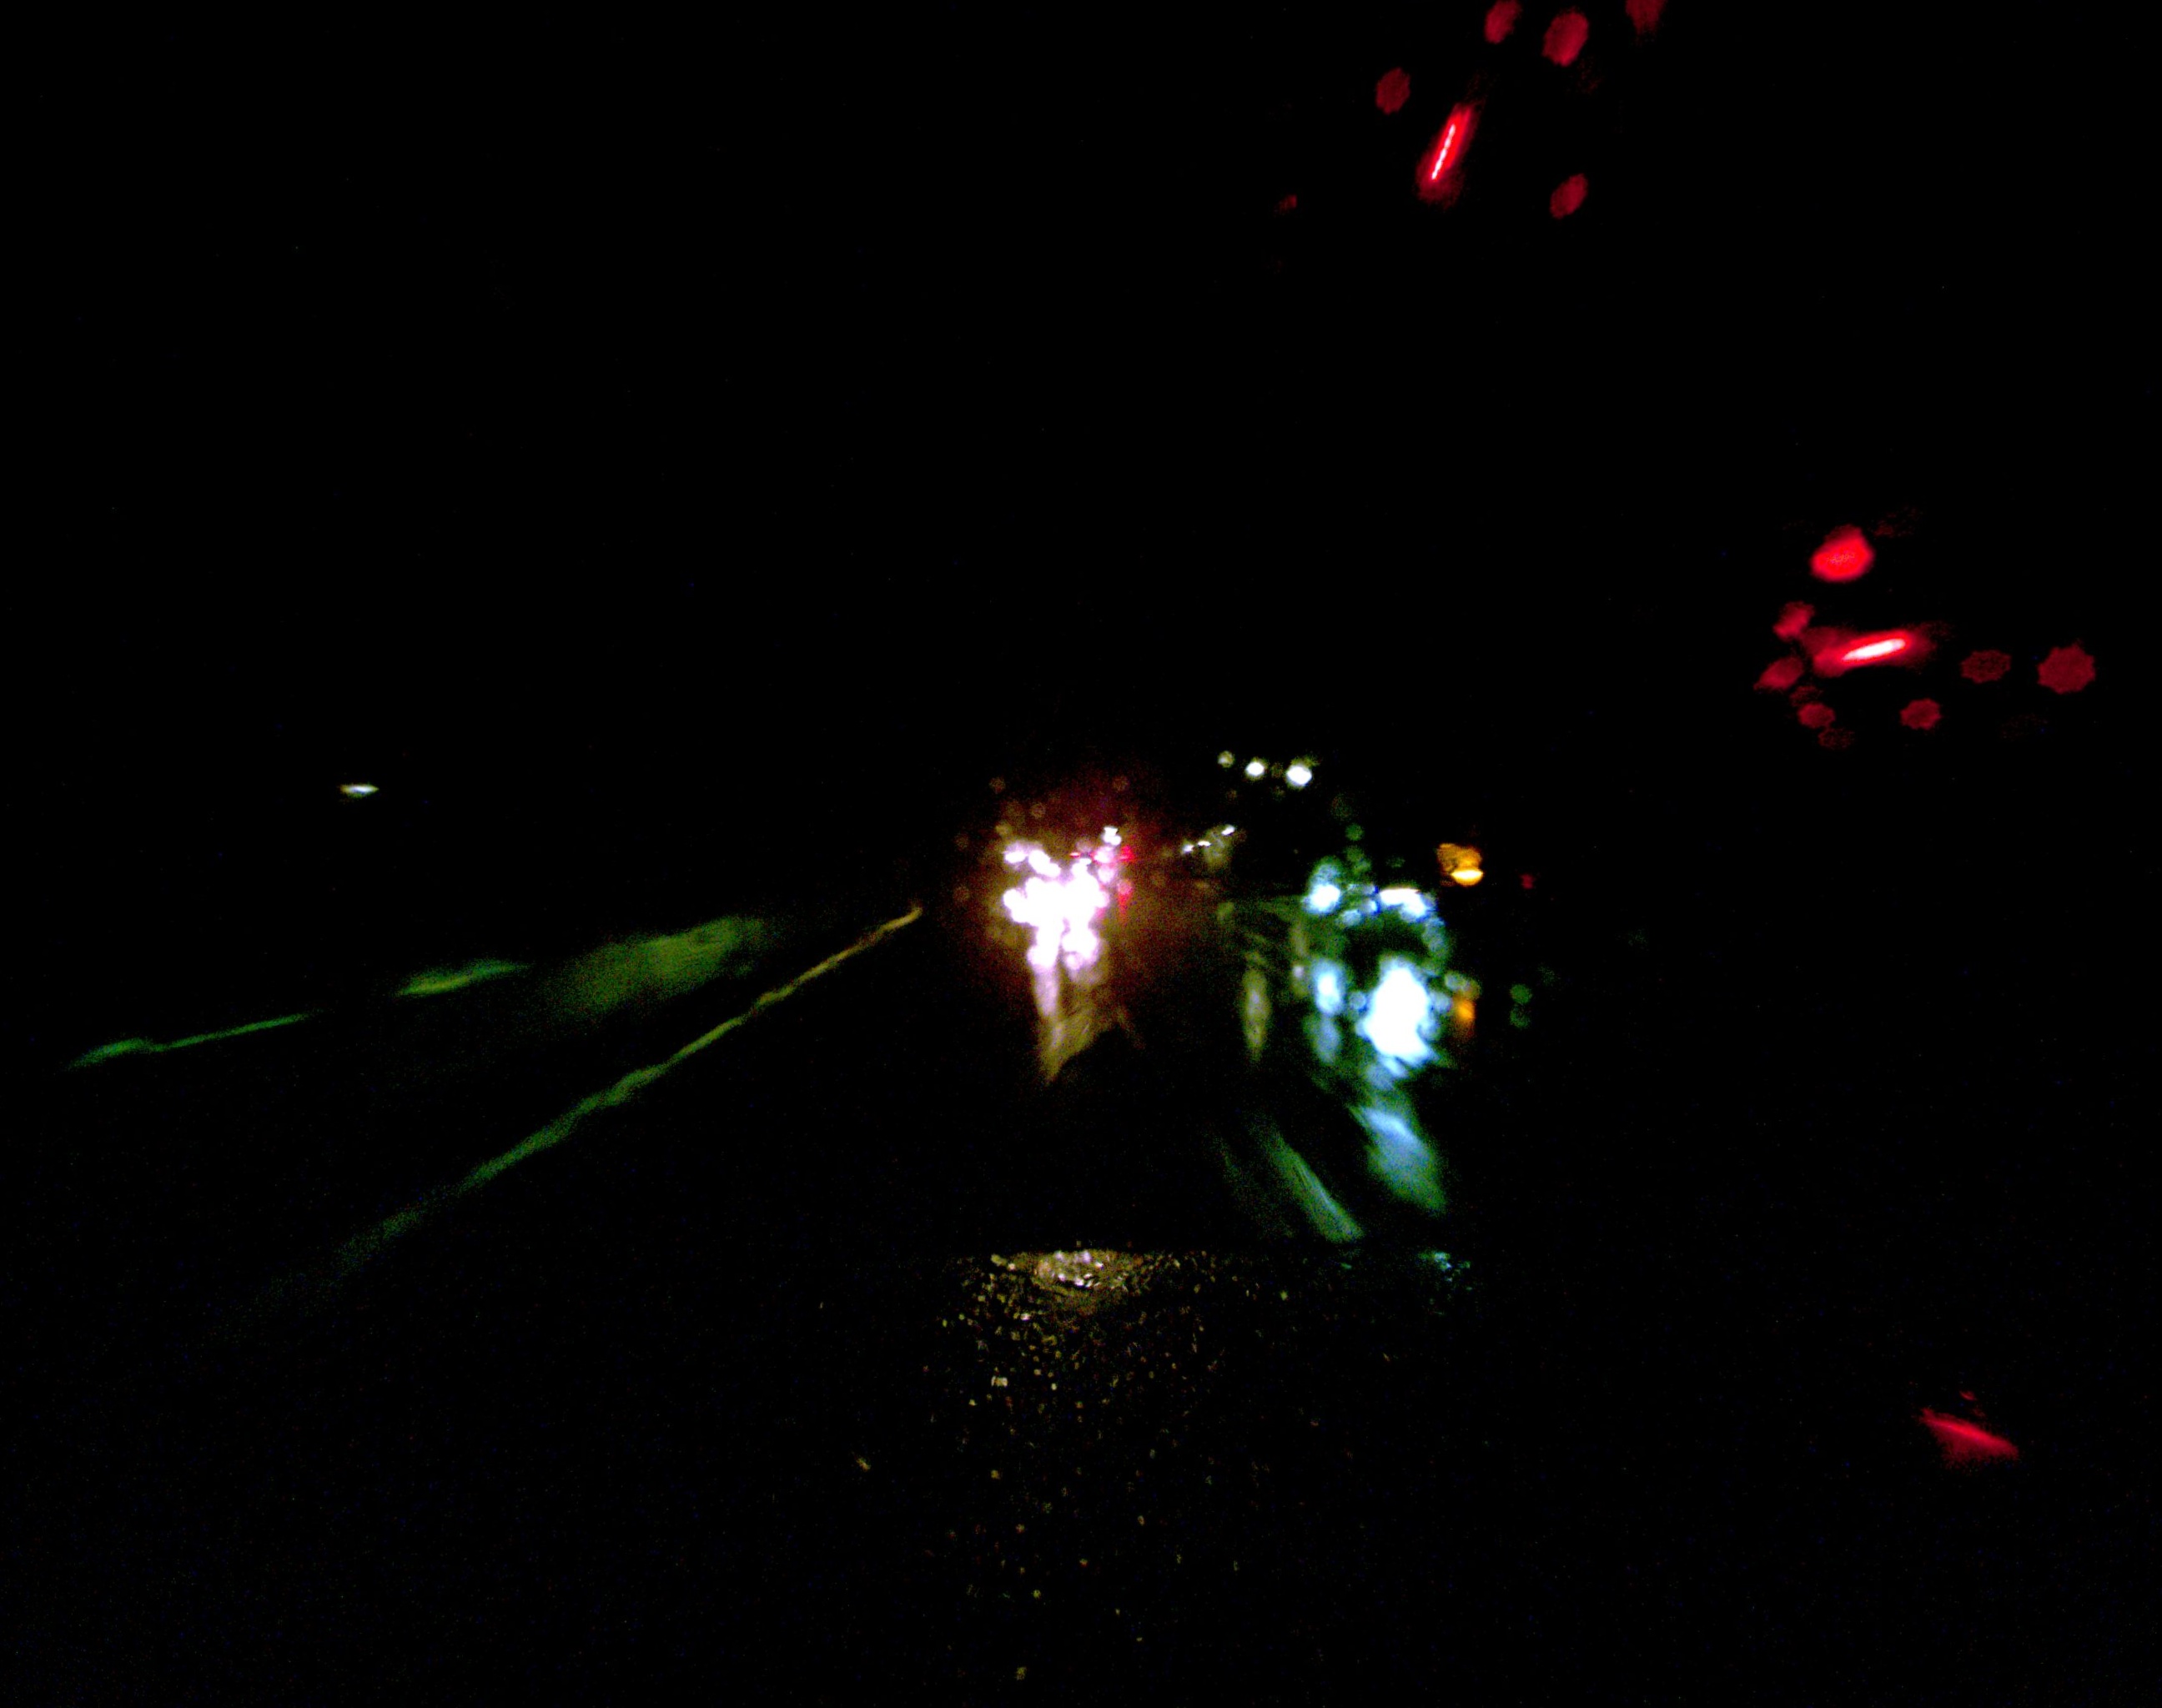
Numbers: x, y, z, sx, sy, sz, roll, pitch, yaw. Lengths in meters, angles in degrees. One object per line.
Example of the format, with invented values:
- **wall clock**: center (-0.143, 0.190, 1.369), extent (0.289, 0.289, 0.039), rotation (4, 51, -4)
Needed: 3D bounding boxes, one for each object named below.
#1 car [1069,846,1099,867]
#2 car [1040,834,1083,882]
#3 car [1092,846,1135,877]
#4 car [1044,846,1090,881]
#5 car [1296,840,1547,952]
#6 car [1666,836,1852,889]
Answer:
- **car**: center (0.179, 0.162, 58.616), extent (1.915, 1.502, 4.238), rotation (-1, 1, -5)
- **car**: center (-1.134, 0.207, 42.463), extent (2.174, 2.427, 4.859), rotation (-2, 0, -3)
- **car**: center (1.829, 0.375, 43.895), extent (2.063, 1.668, 4.137), rotation (-1, 1, -4)
- **car**: center (-0.727, 0.470, 36.452), extent (1.980, 1.508, 4.205), rotation (-2, -1, -4)
- **car**: center (6.126, 0.653, 13.570), extent (4.346, 1.678, 1.891), rotation (-1, -1, -31)
- **car**: center (22.037, 0.199, 24.998), extent (1.938, 1.577, 4.479), rotation (0, 2, -3)
